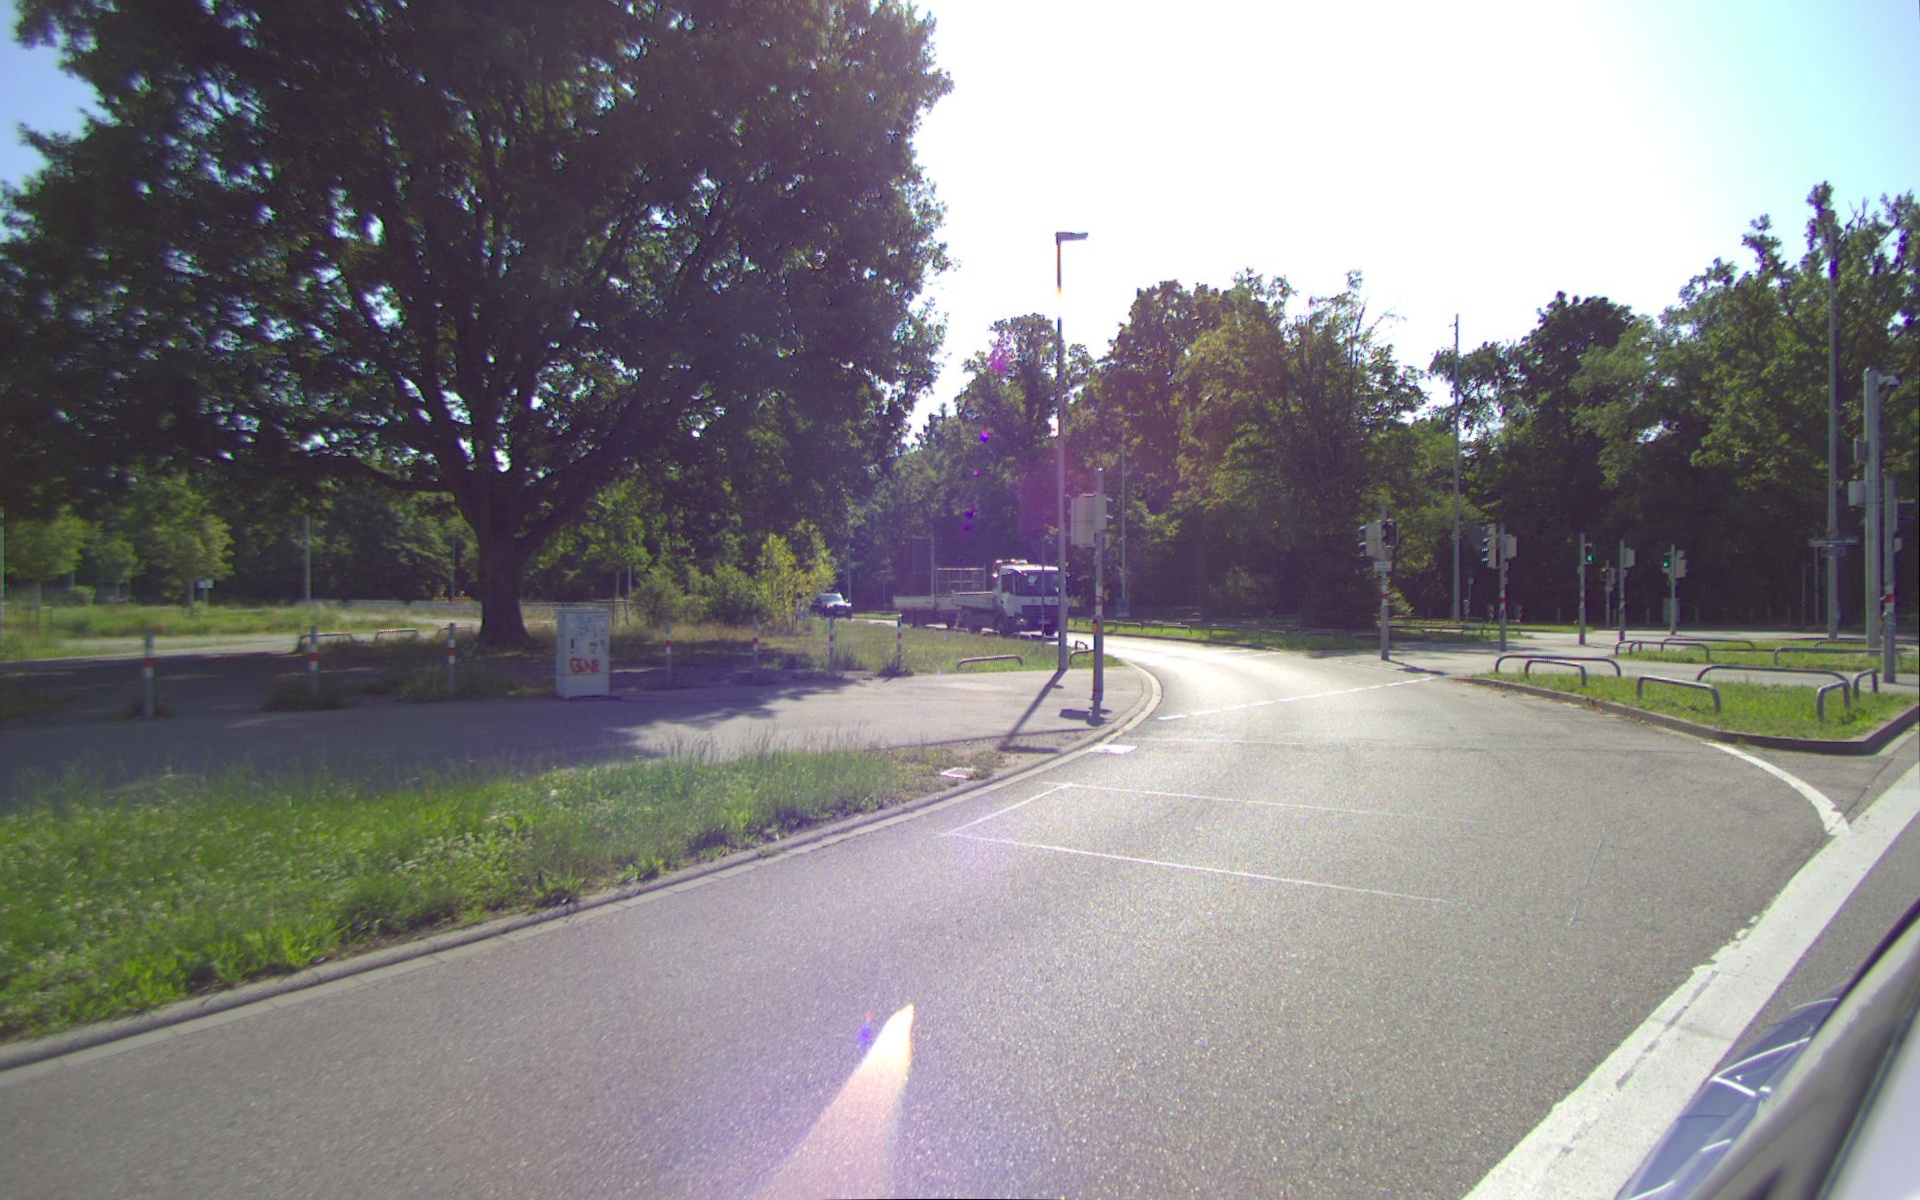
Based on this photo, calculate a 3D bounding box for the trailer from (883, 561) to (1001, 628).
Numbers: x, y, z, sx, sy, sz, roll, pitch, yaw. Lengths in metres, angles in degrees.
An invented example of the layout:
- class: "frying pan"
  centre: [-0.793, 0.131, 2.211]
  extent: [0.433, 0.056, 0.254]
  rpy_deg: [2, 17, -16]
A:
- class: "trailer"
  centre: [-0.943, -0.233, 44.906]
  extent: [2.648, 2.721, 6.900]
  rpy_deg: [0, 0, -25]

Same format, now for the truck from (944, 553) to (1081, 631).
- class: "truck"
  centre: [1.880, -0.275, 39.061]
  extent: [2.625, 2.752, 6.213]
  rpy_deg: [0, 0, -25]

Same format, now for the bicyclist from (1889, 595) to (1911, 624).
- class: "bicyclist"
  centre: [53.726, 0.517, 57.840]
  extent: [1.037, 1.659, 0.726]
  rpy_deg: [0, 0, -34]

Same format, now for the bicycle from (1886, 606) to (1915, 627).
- class: "bicycle"
  centre: [53.785, 0.933, 57.866]
  extent: [2.060, 1.214, 0.726]
  rpy_deg: [0, 0, -34]

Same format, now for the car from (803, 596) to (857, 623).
- class: "car"
  centre: [-7.610, 0.521, 58.998]
  extent: [1.809, 1.502, 4.005]
  rpy_deg: [0, 0, -29]
